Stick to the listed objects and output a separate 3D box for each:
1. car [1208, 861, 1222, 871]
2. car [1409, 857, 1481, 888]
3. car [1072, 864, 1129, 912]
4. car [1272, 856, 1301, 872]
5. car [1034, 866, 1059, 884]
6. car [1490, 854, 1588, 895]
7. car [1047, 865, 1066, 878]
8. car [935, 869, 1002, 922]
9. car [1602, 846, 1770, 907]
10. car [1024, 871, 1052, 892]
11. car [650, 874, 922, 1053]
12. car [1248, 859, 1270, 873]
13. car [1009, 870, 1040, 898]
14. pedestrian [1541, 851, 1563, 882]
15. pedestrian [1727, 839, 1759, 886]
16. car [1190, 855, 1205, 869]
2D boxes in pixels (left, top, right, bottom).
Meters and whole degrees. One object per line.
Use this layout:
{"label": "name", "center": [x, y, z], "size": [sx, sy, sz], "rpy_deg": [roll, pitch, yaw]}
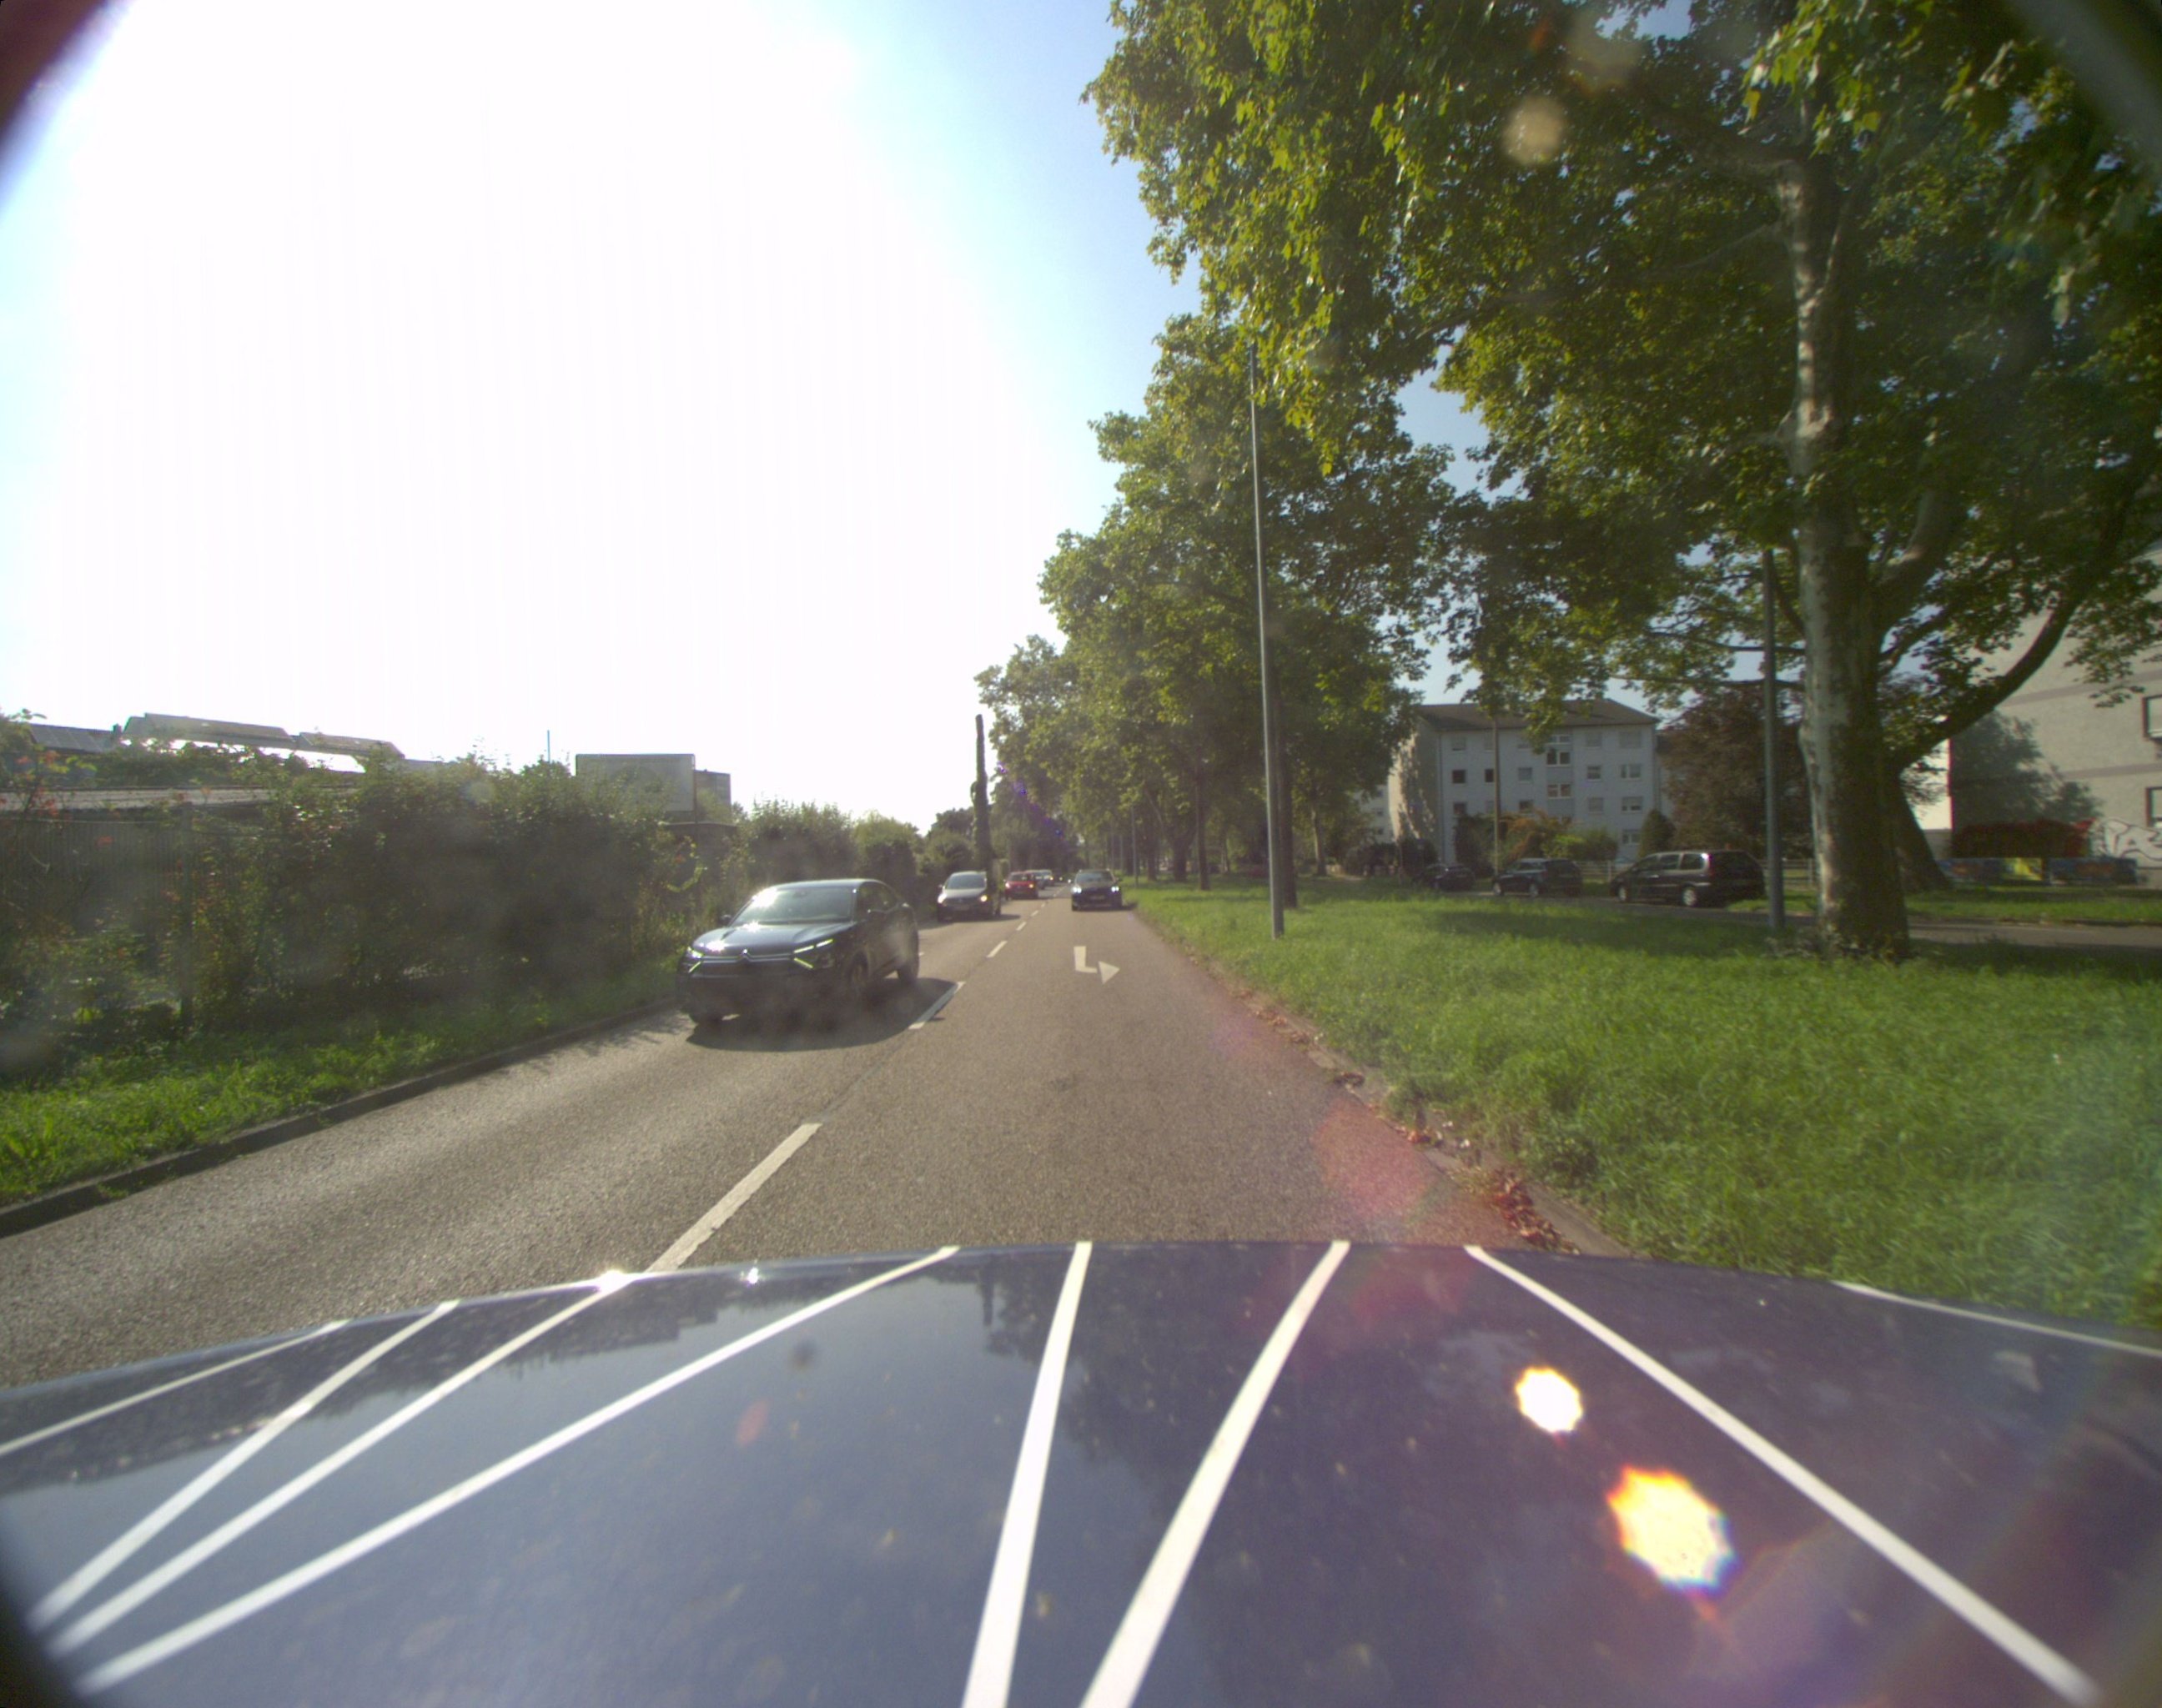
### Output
{"label": "car", "center": [21.279, 1.830, 120.918], "size": [1.526, 1.524, 3.864], "rpy_deg": [-1, 0, 1]}
{"label": "car", "center": [19.451, 0.975, 40.825], "size": [1.703, 1.499, 4.541], "rpy_deg": [-2, -1, 1]}
{"label": "car", "center": [0.648, 1.167, 27.096], "size": [1.862, 1.571, 3.612], "rpy_deg": [-1, -1, 0]}
{"label": "car", "center": [19.828, 0.940, 73.357], "size": [1.806, 1.421, 4.065], "rpy_deg": [-2, -1, 2]}
{"label": "car", "center": [-3.076, 1.866, 69.140], "size": [1.648, 1.467, 3.901], "rpy_deg": [-2, 0, 6]}
{"label": "car", "center": [19.047, 0.826, 31.794], "size": [1.703, 1.558, 4.000], "rpy_deg": [-2, 0, 1]}
{"label": "car", "center": [-2.853, 2.028, 87.709], "size": [1.648, 1.378, 3.901], "rpy_deg": [-2, 0, 6]}
{"label": "car", "center": [-3.694, 1.323, 25.540], "size": [1.649, 1.547, 3.899], "rpy_deg": [-1, 0, 0]}
{"label": "car", "center": [19.178, 0.677, 24.405], "size": [1.703, 1.721, 4.660], "rpy_deg": [-2, 0, 1]}
{"label": "car", "center": [-3.312, 2.144, 59.422], "size": [1.649, 1.467, 3.900], "rpy_deg": [-2, 0, 5]}
{"label": "car", "center": [-3.226, 1.092, 9.304], "size": [1.649, 1.579, 4.255], "rpy_deg": [-1, 0, 0]}
{"label": "car", "center": [19.936, 1.292, 85.277], "size": [1.542, 1.443, 4.065], "rpy_deg": [-2, 0, 2]}
{"label": "car", "center": [-3.088, 1.585, 41.232], "size": [1.579, 1.390, 3.470], "rpy_deg": [0, 0, -5]}
{"label": "pedestrian", "center": [25.266, 0.677, 40.791], "size": [0.648, 1.636, 0.735], "rpy_deg": [-2, 0, -1]}
{"label": "pedestrian", "center": [24.349, 0.307, 27.951], "size": [0.544, 1.680, 0.658], "rpy_deg": [-2, 0, -3]}
{"label": "car", "center": [22.542, 1.551, 147.461], "size": [2.213, 2.415, 6.267], "rpy_deg": [-4, -1, 4]}
